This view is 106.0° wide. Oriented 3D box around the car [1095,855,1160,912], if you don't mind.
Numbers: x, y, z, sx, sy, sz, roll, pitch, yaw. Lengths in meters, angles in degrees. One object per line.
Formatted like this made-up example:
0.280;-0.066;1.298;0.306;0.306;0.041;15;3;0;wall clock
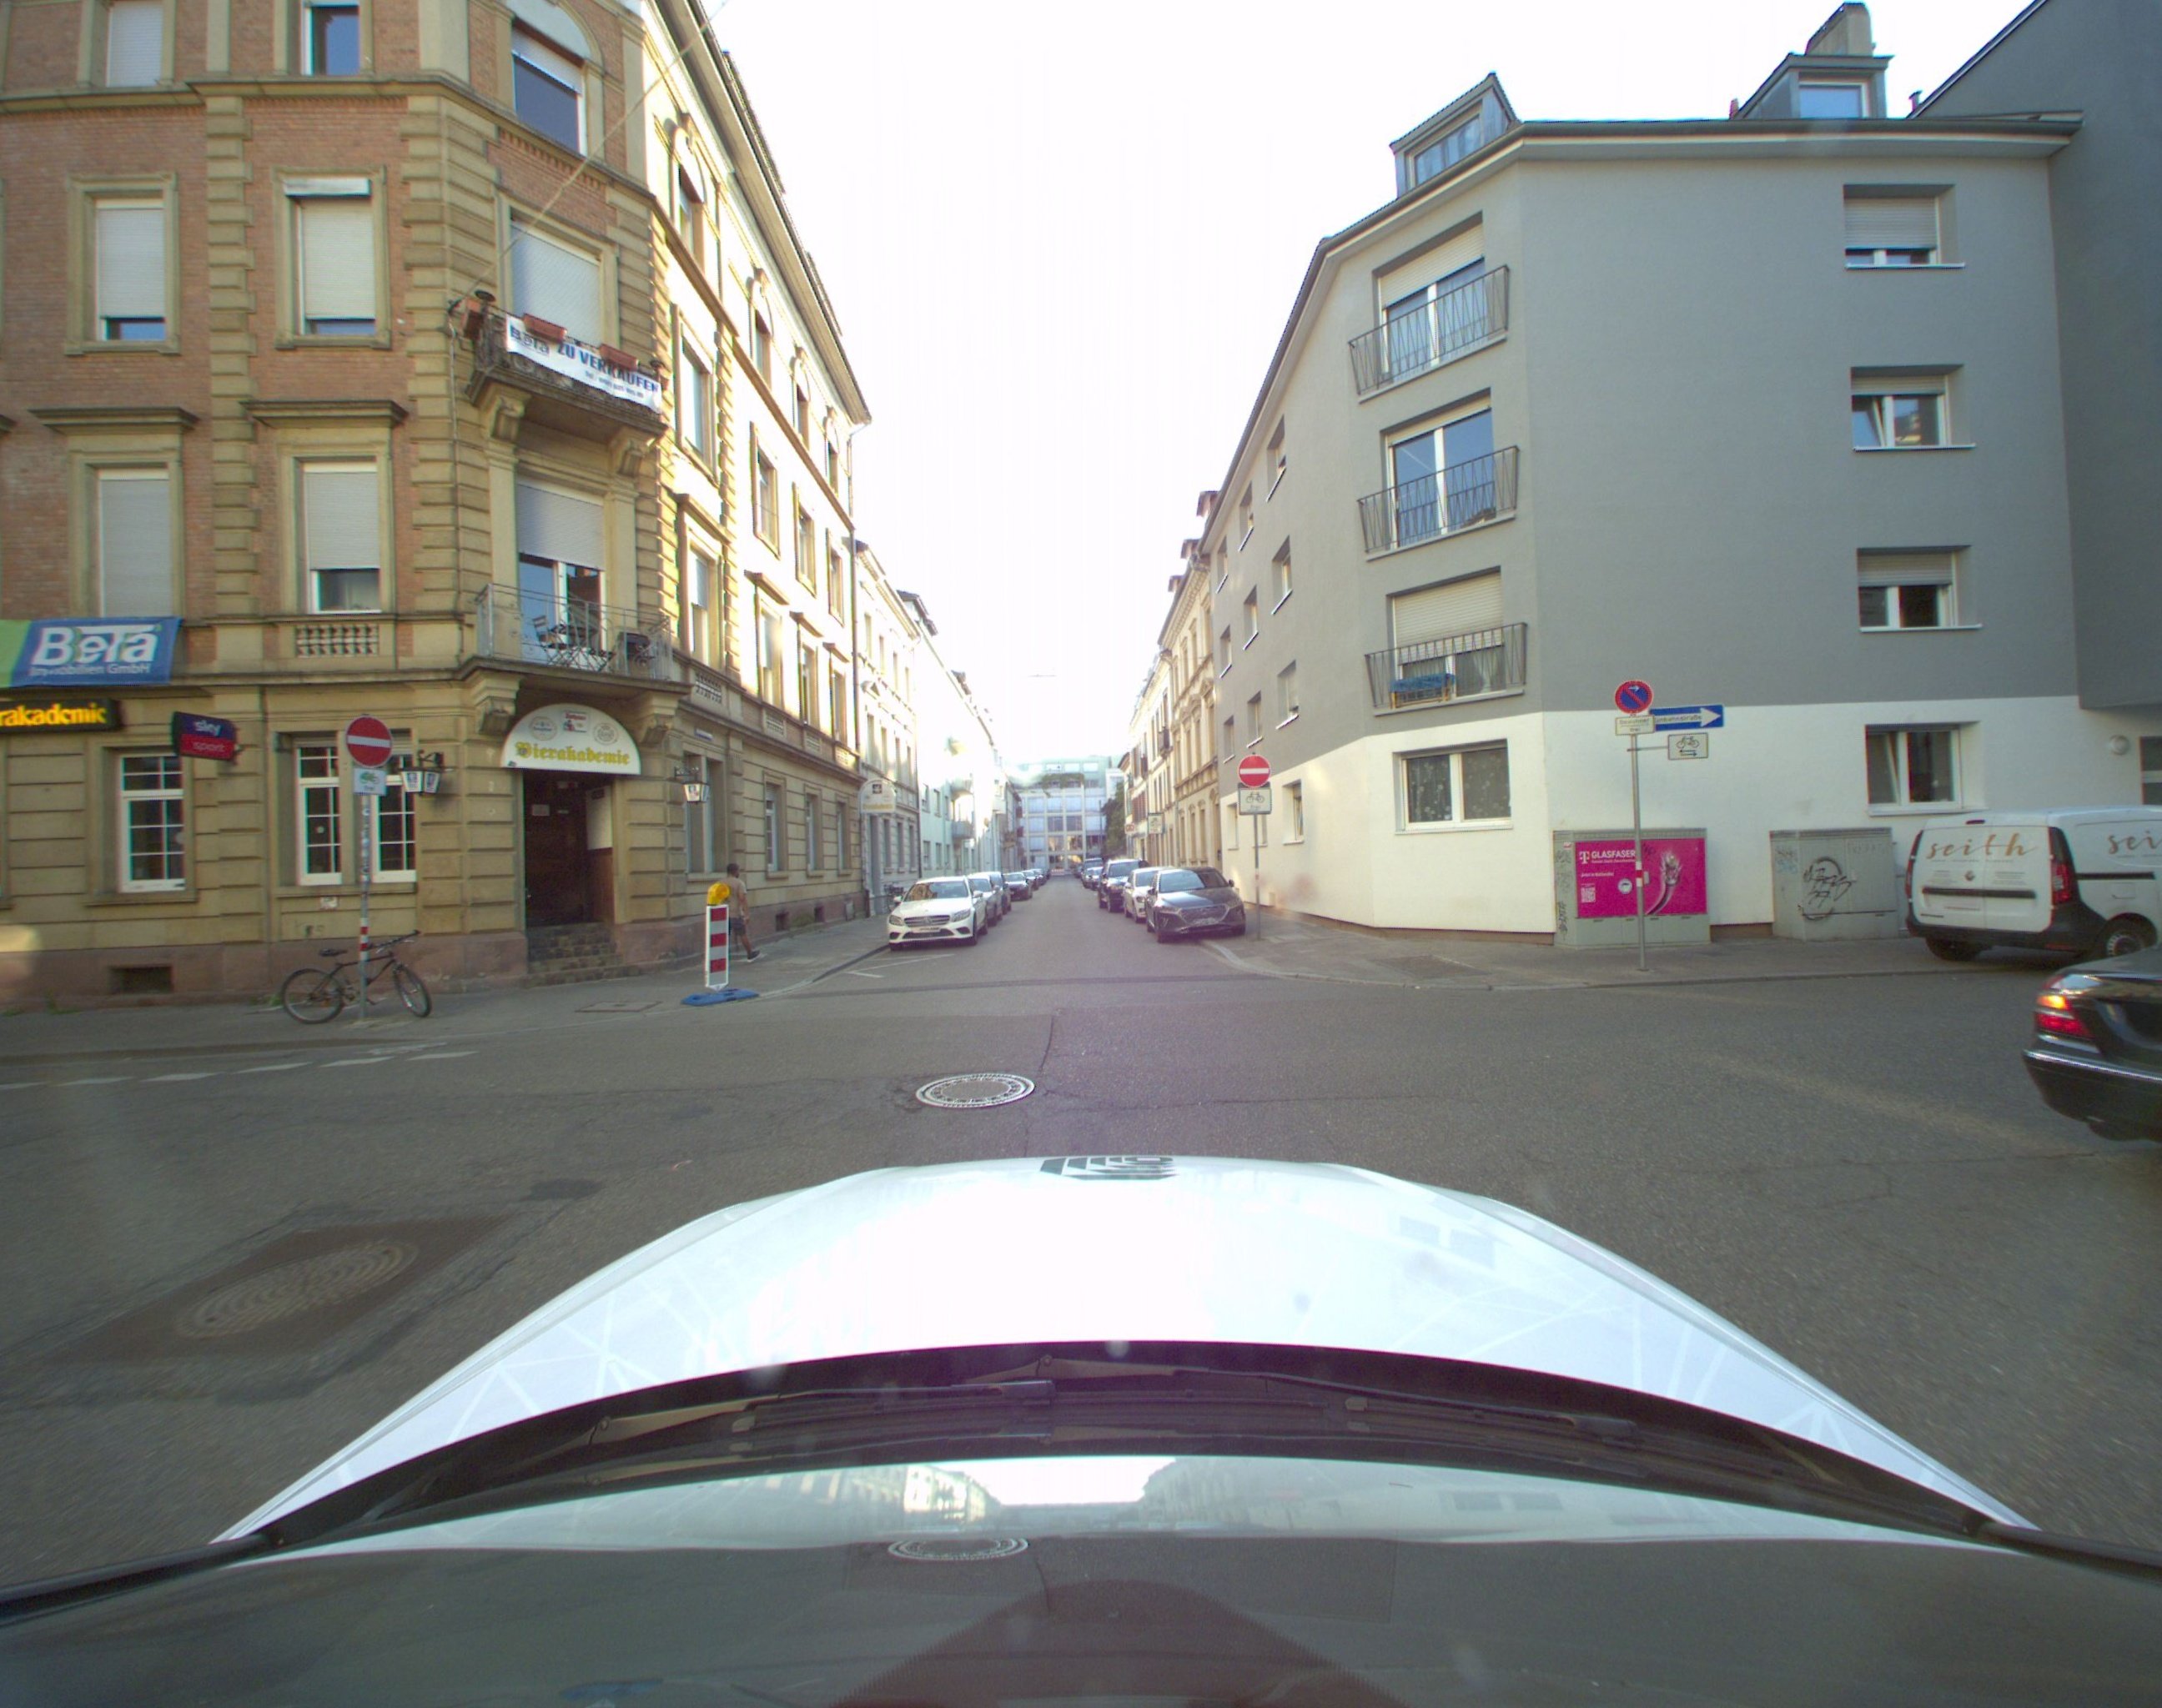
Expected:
1.561;0.986;28.799;1.889;1.784;3.996;-2;-1;-2;car

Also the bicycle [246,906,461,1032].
-8.464;1.317;9.535;1.755;1.275;0.660;-2;3;-5;bicycle

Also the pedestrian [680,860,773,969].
-5.984;0.988;13.775;0.972;1.742;1.022;-2;-1;25;pedestrian

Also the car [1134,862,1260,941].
2.323;0.915;17.334;1.933;1.372;3.785;-4;0;-2;car

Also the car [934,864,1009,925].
-3.131;1.105;23.900;1.619;1.577;3.753;-2;-1;0;car

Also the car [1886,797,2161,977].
12.048;0.294;9.297;4.161;1.814;1.635;-2;-1;-2;car

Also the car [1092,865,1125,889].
1.774;1.507;53.928;1.987;1.451;3.999;-2;-1;0;car

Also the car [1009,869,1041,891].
-4.048;1.874;58.888;2.168;1.418;3.995;-2;-1;-3;car

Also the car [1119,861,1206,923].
2.246;1.022;23.401;1.958;1.557;3.886;-2;-1;-2;car

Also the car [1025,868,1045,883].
-4.278;2.016;75.977;1.703;1.302;3.996;-2;-1;-2;car

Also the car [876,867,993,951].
-3.153;1.133;18.488;1.989;1.564;4.501;-2;-1;-3;car

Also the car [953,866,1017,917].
-3.411;1.299;29.628;1.779;1.659;3.816;-2;-1;0;car

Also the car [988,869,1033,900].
-3.513;1.519;41.335;1.988;1.355;4.426;-2;-1;-2;car

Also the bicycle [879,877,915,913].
-6.644;1.456;29.520;0.735;1.161;2.460;-2;-1;-1;bicycle

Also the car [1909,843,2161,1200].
6.666;0.597;3.260;4.696;1.408;1.891;-2;-1;1;car

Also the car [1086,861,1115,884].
1.519;1.430;64.609;1.988;1.700;3.997;-2;-1;-2;car
